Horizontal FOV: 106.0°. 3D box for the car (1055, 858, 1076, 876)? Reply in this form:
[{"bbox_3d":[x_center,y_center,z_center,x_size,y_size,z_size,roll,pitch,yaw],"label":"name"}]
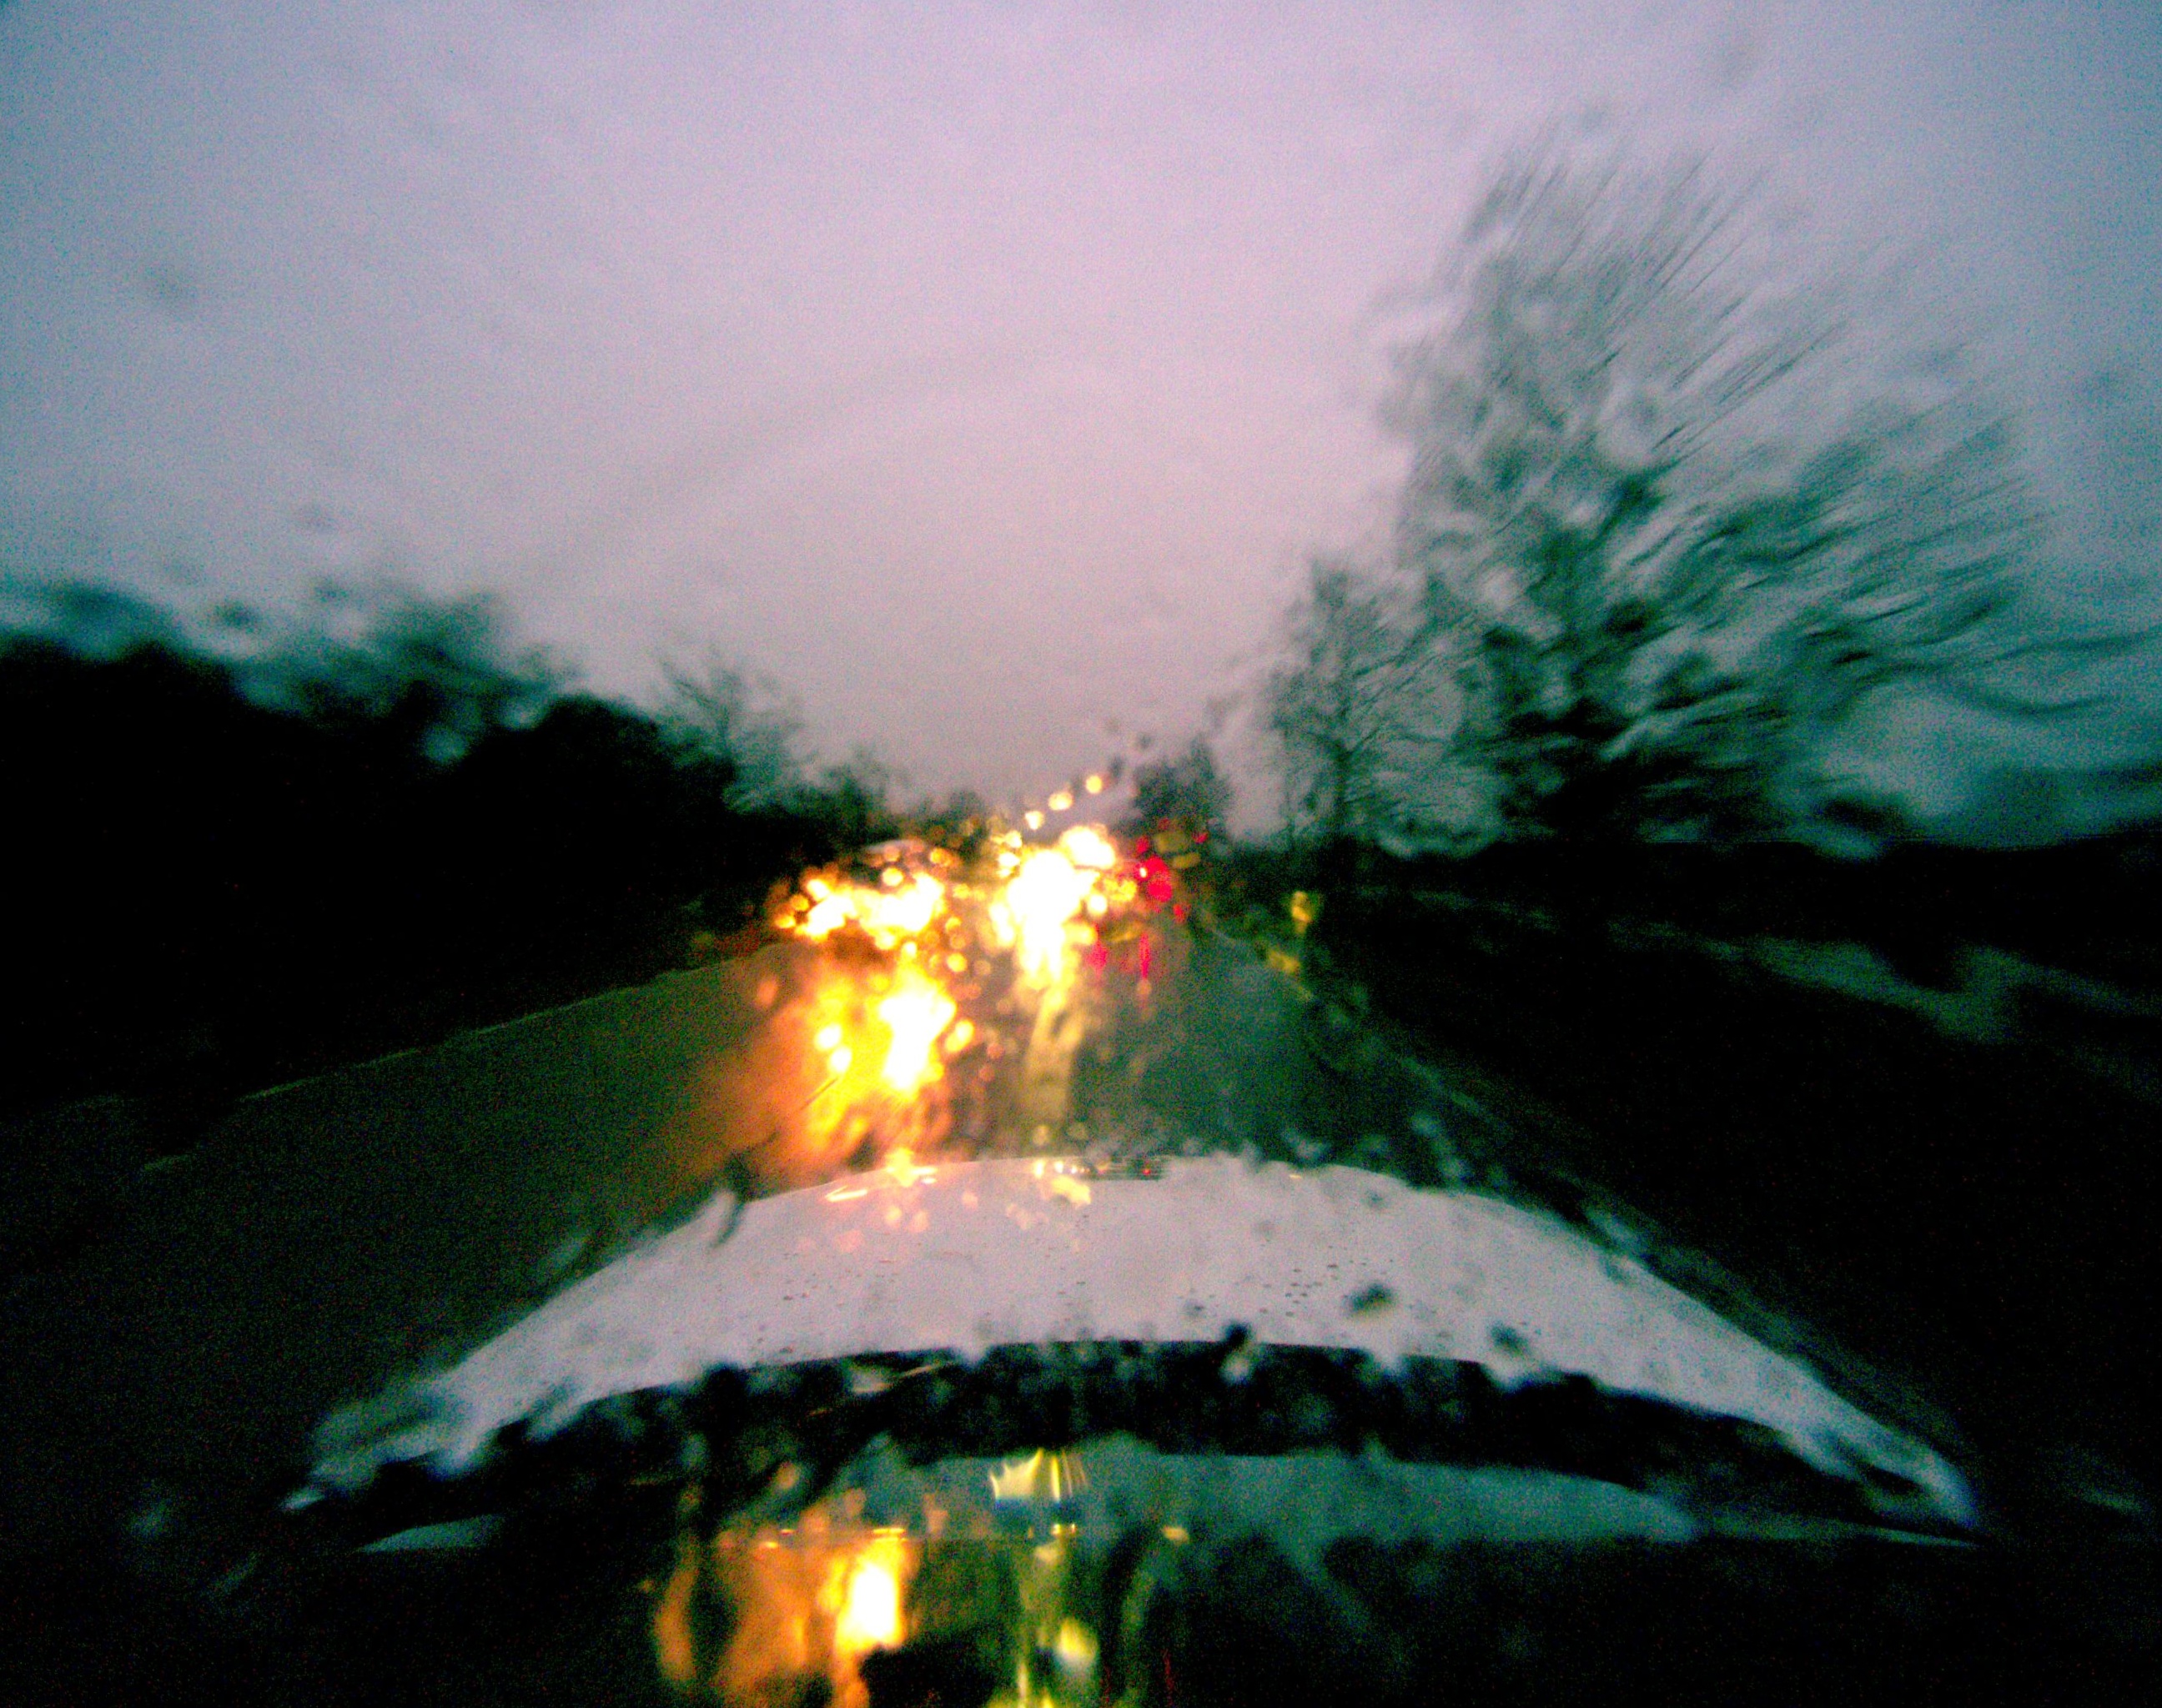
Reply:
[{"bbox_3d":[-1.497,1.227,78.202,1.773,1.596,4.694,-1,0,1],"label":"car"}]

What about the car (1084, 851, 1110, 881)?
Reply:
[{"bbox_3d":[1.083,0.768,52.580,1.568,1.875,3.711,0,0,3],"label":"car"}]

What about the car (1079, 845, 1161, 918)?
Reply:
[{"bbox_3d":[1.045,0.677,21.906,1.985,1.784,4.003,0,0,3],"label":"car"}]

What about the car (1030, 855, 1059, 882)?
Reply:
[{"bbox_3d":[-2.370,0.923,53.464,1.746,1.647,4.048,-1,0,0],"label":"car"}]

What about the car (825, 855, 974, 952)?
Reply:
[{"bbox_3d":[-3.120,0.784,14.840,1.685,1.530,4.087,0,0,2],"label":"car"}]
